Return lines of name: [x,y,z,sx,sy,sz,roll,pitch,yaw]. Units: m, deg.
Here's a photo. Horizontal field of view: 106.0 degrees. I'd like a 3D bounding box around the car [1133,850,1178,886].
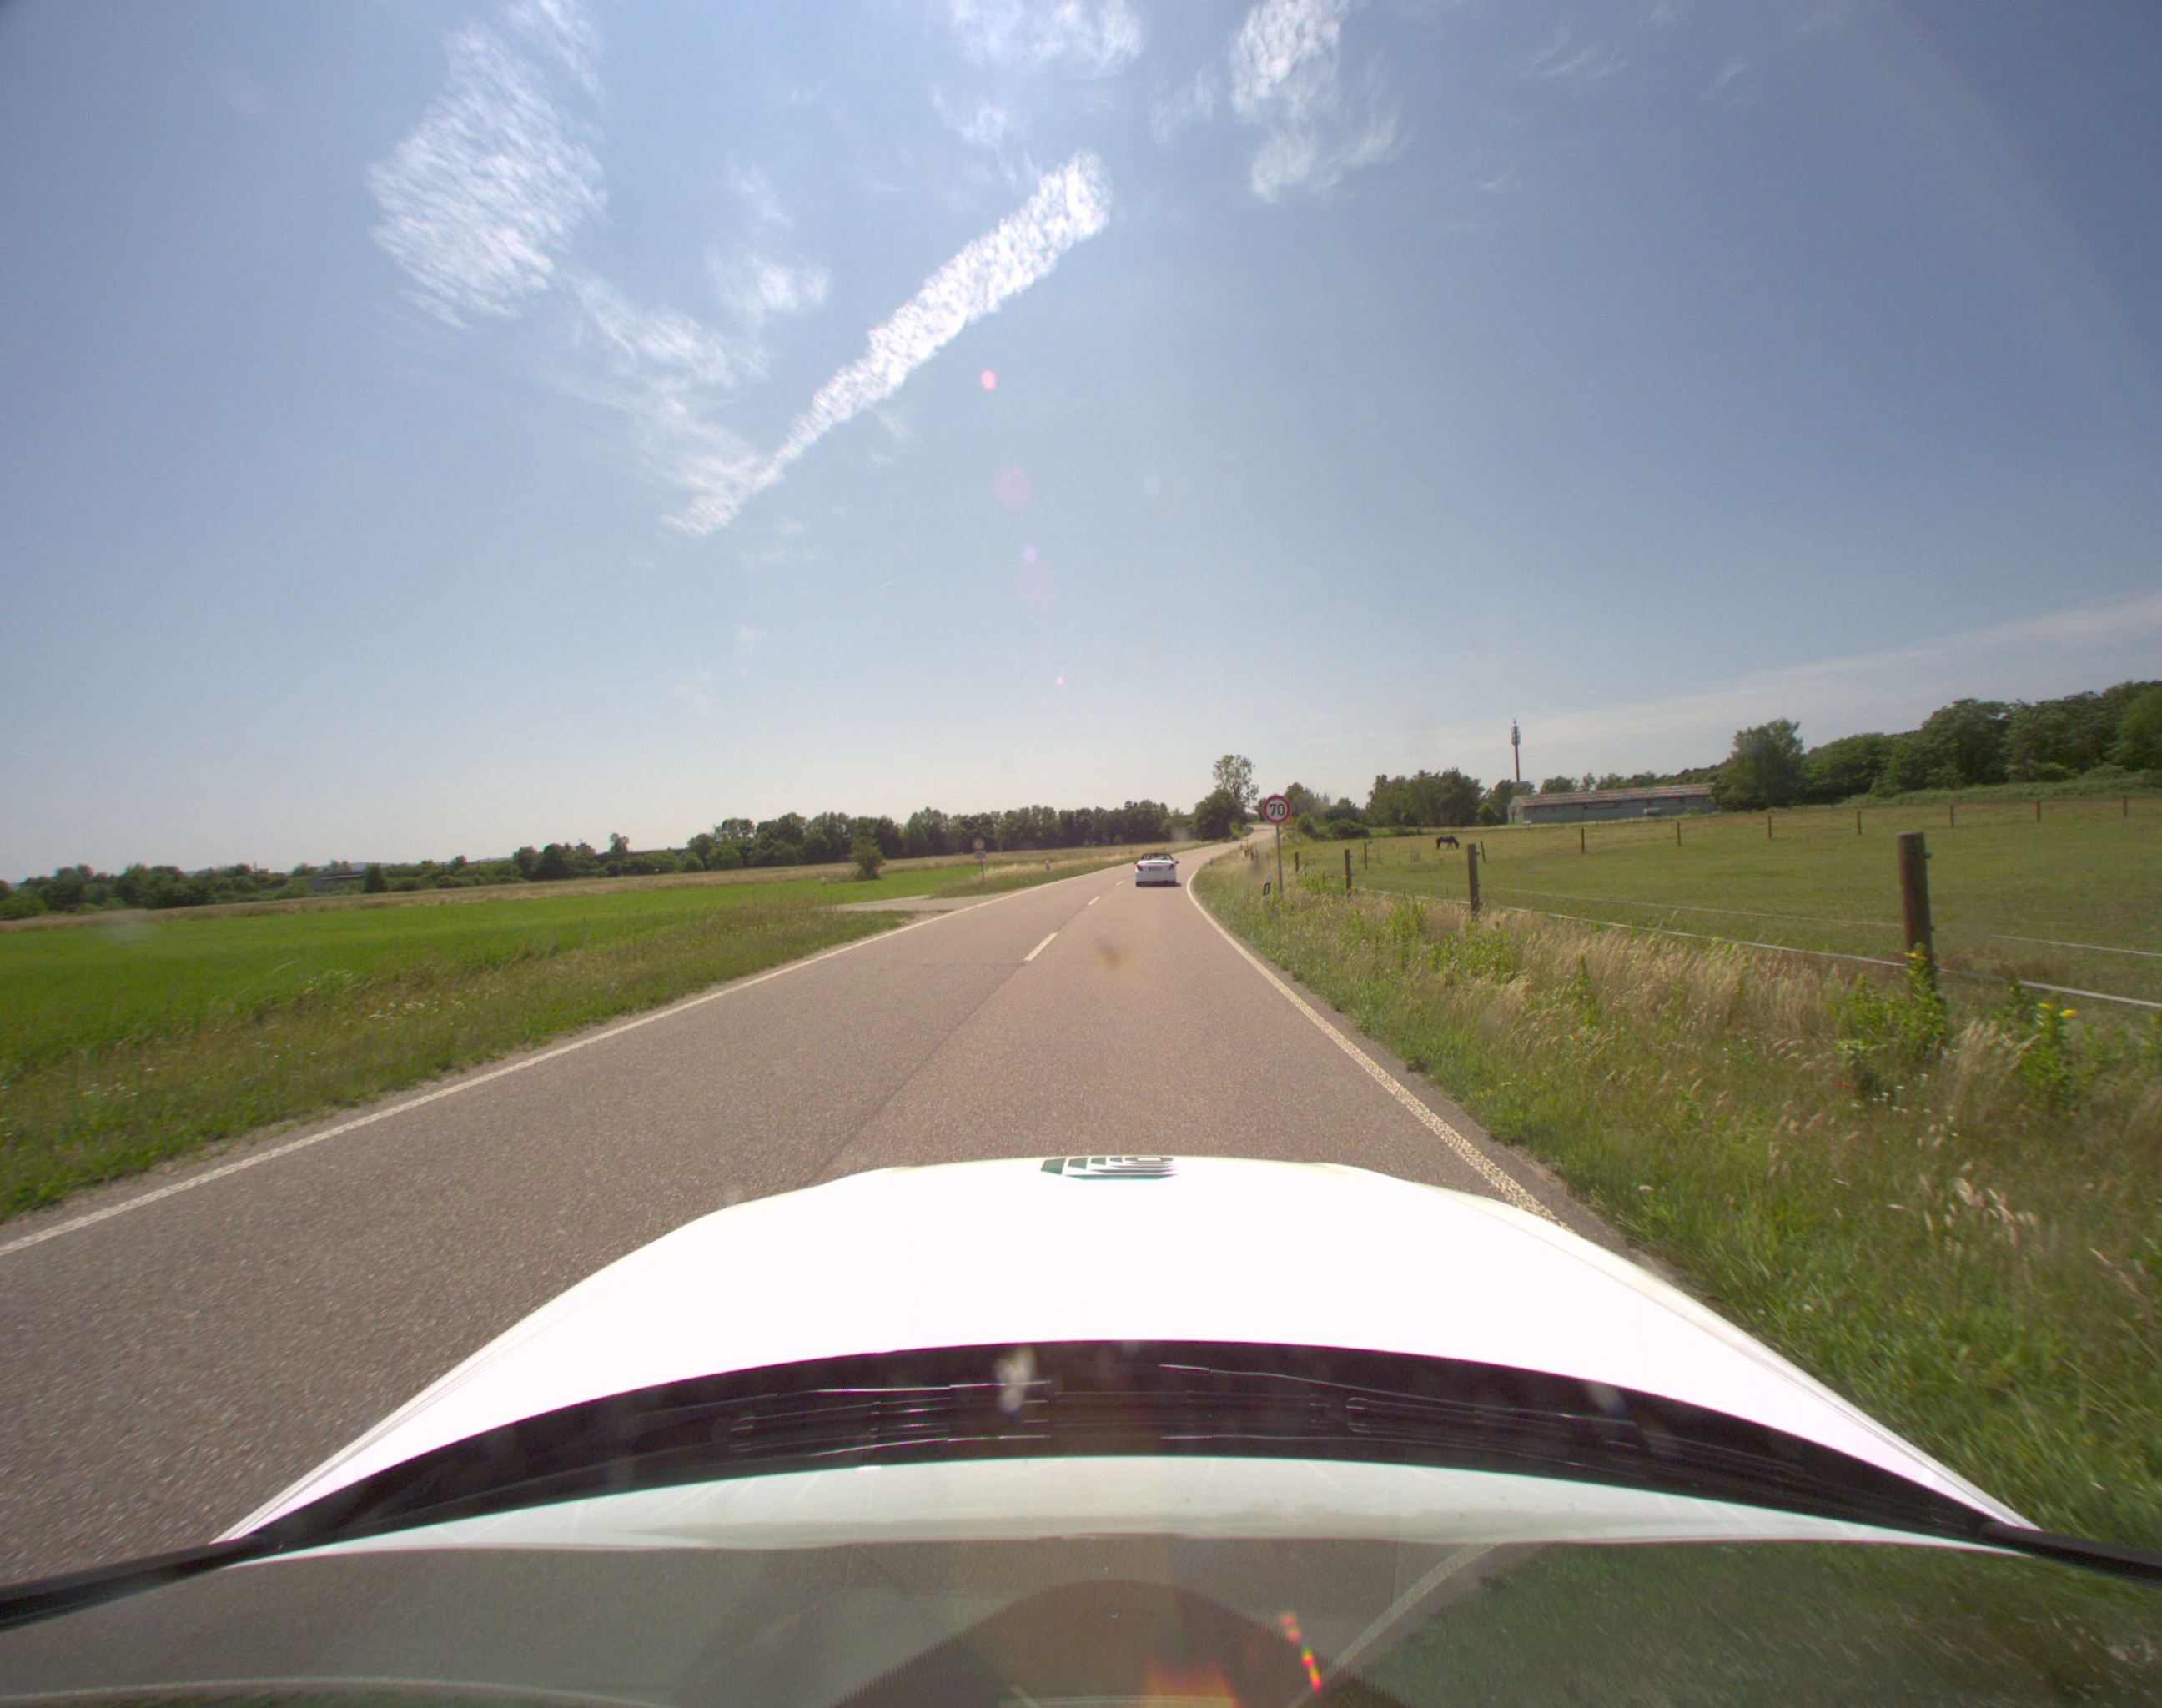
car: [3.263,0.554,35.296,1.841,1.379,4.008,-1,1,6]
